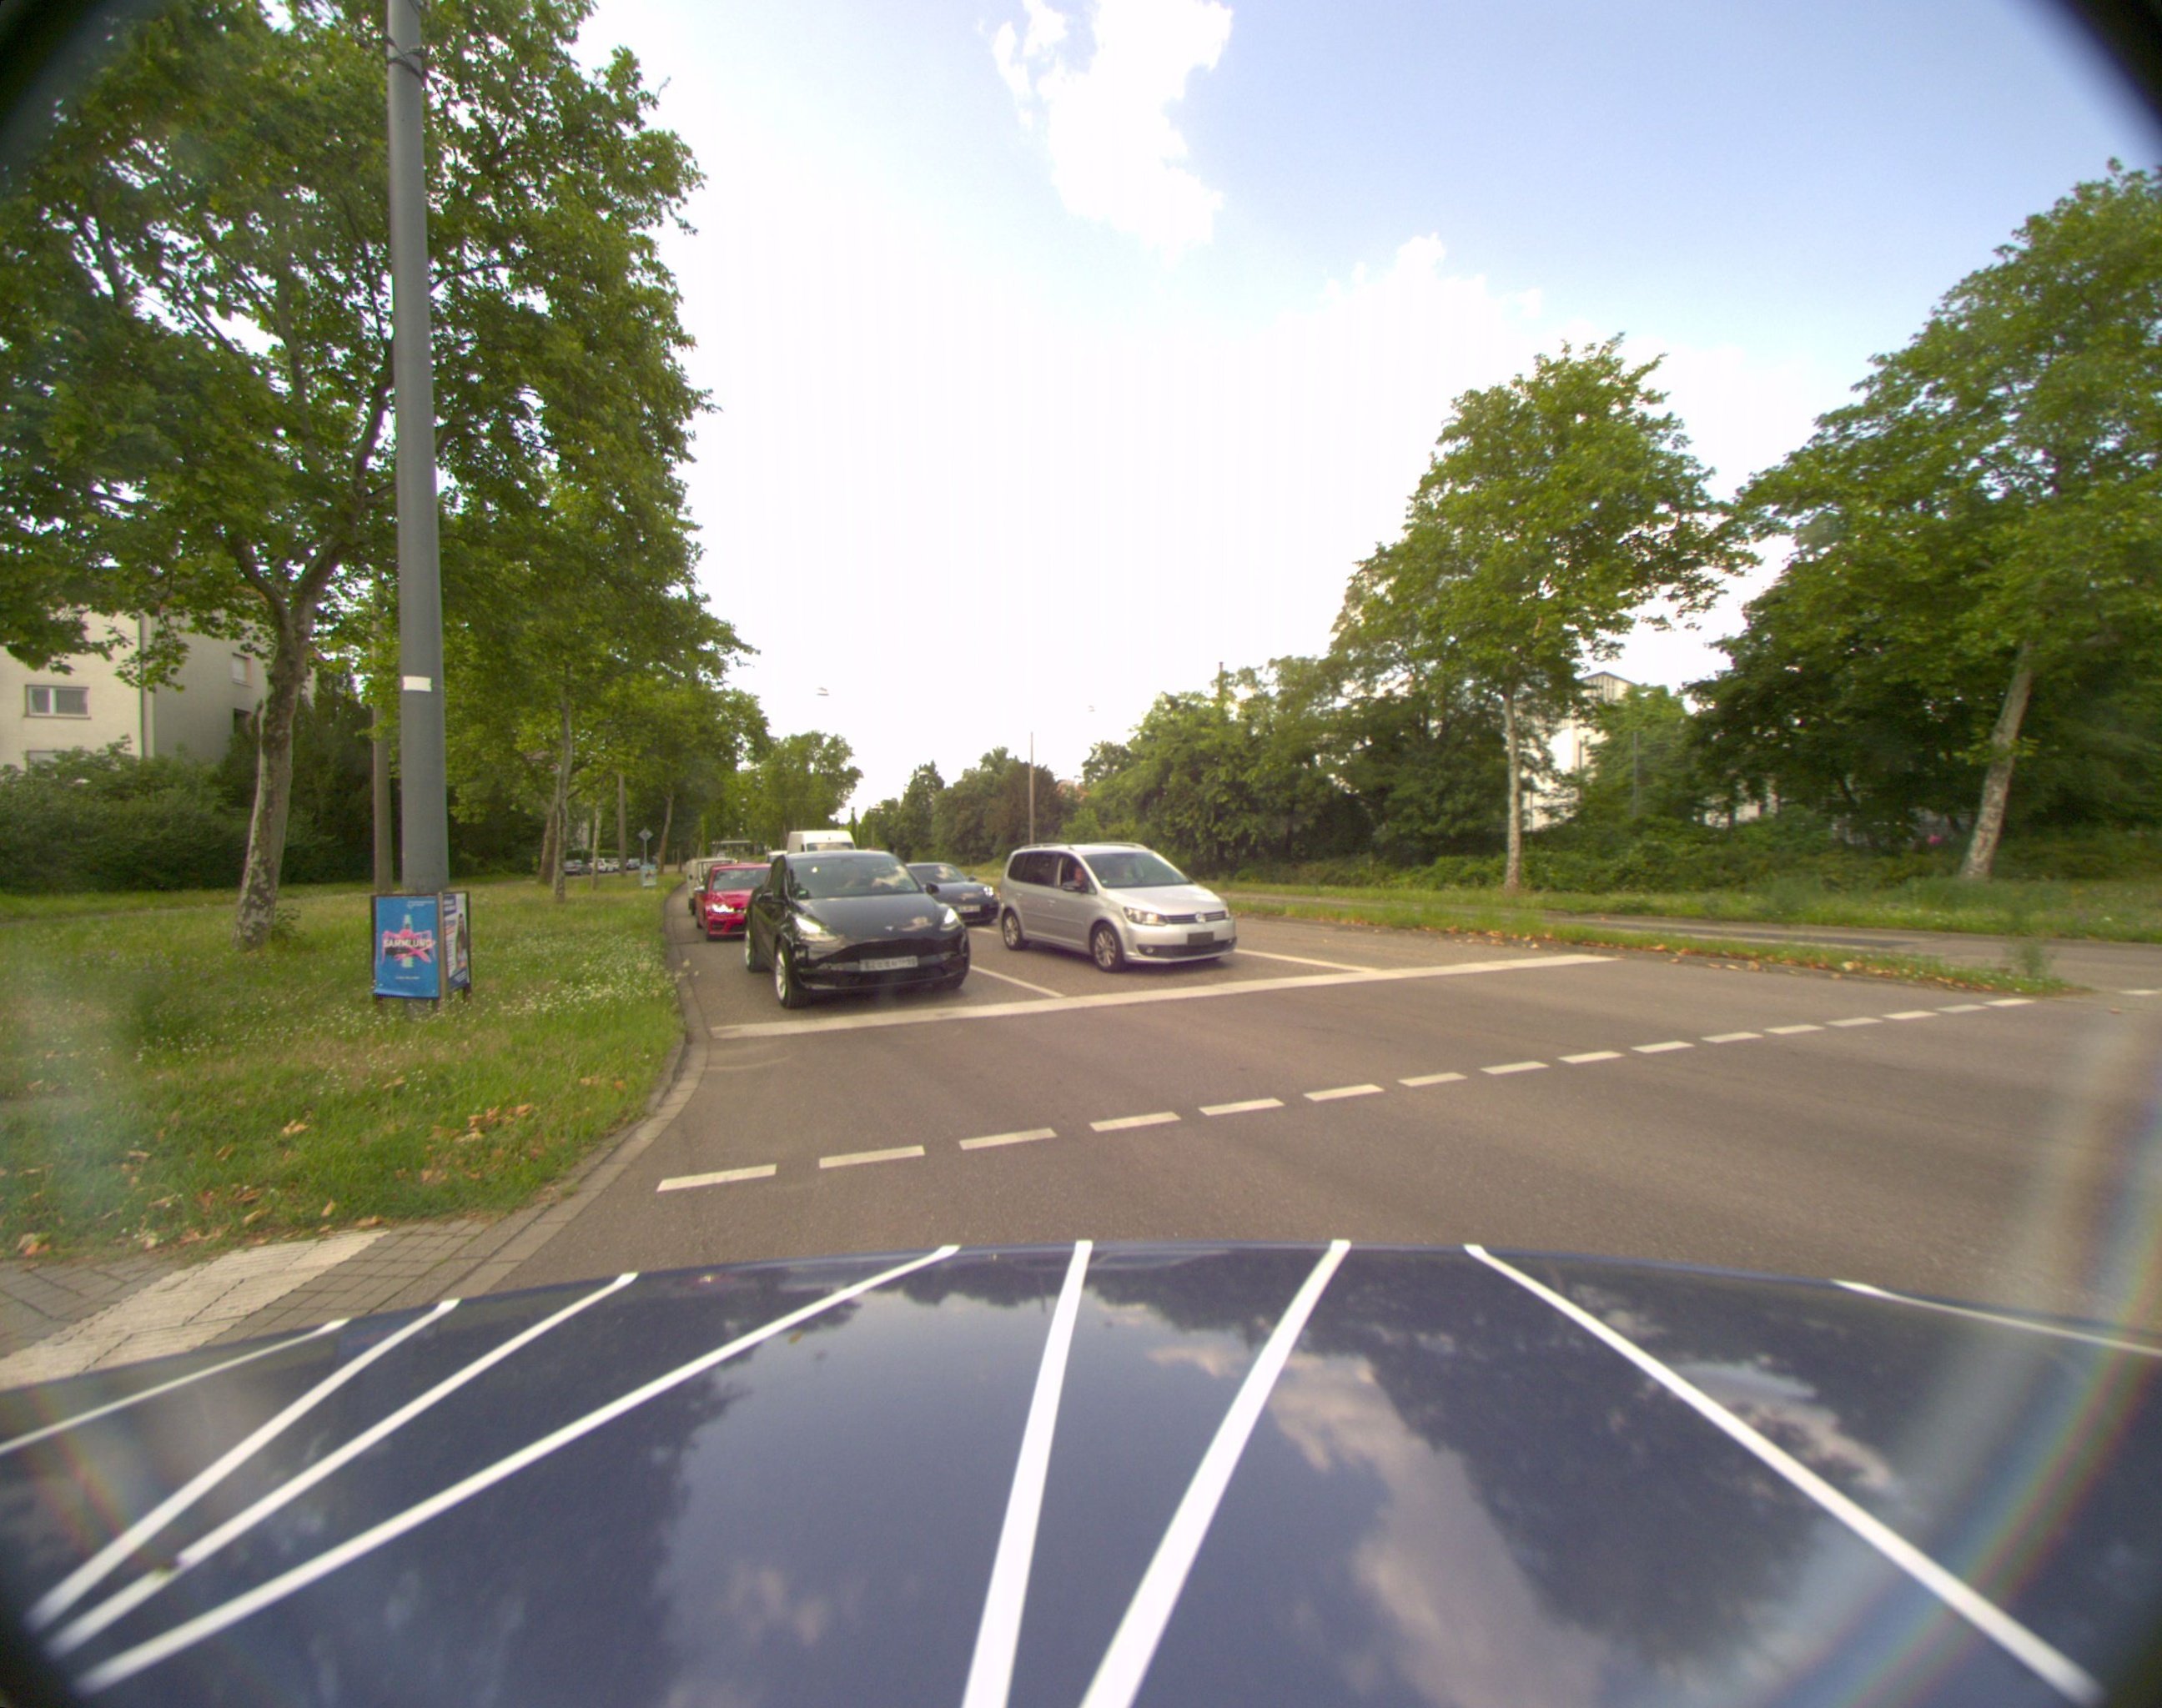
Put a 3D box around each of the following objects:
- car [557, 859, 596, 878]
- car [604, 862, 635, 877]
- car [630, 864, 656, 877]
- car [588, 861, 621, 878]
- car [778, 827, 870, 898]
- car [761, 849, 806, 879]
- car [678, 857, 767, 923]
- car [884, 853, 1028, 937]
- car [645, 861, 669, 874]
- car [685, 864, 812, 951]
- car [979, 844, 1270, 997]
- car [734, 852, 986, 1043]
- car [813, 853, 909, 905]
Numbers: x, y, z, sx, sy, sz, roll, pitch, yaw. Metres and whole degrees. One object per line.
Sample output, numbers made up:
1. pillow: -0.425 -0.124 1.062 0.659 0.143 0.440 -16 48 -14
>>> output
1. car: -44.750 1.271 67.432 1.777 1.586 3.652 -1 -1 -15
2. car: -48.737 1.661 80.248 1.777 1.586 3.652 -1 -1 -15
3. car: -52.211 1.984 90.694 1.777 1.586 3.652 -1 -1 -15
4. car: -47.604 1.537 76.011 1.777 1.586 3.652 -1 -1 -15
5. car: -10.491 0.276 30.658 2.231 2.516 5.918 -3 2 -31
6. car: -17.519 0.541 44.673 1.768 1.637 4.332 -1 1 -31
7. car: -10.246 0.916 21.543 1.805 1.561 4.491 -3 2 -31
8. car: -2.856 0.784 16.633 1.807 1.499 3.990 -3 2 -29
9. car: -54.740 1.811 98.166 1.777 1.586 3.652 -1 -1 -15
10. car: -7.045 0.986 15.829 1.805 1.383 4.491 -3 2 -31
11. car: 0.353 0.729 10.887 1.934 1.643 4.491 -3 2 -31
12. car: -2.949 0.834 9.286 1.934 1.643 4.569 -3 2 -29
13. car: -6.896 0.702 23.508 1.767 1.367 4.332 -3 2 -31
